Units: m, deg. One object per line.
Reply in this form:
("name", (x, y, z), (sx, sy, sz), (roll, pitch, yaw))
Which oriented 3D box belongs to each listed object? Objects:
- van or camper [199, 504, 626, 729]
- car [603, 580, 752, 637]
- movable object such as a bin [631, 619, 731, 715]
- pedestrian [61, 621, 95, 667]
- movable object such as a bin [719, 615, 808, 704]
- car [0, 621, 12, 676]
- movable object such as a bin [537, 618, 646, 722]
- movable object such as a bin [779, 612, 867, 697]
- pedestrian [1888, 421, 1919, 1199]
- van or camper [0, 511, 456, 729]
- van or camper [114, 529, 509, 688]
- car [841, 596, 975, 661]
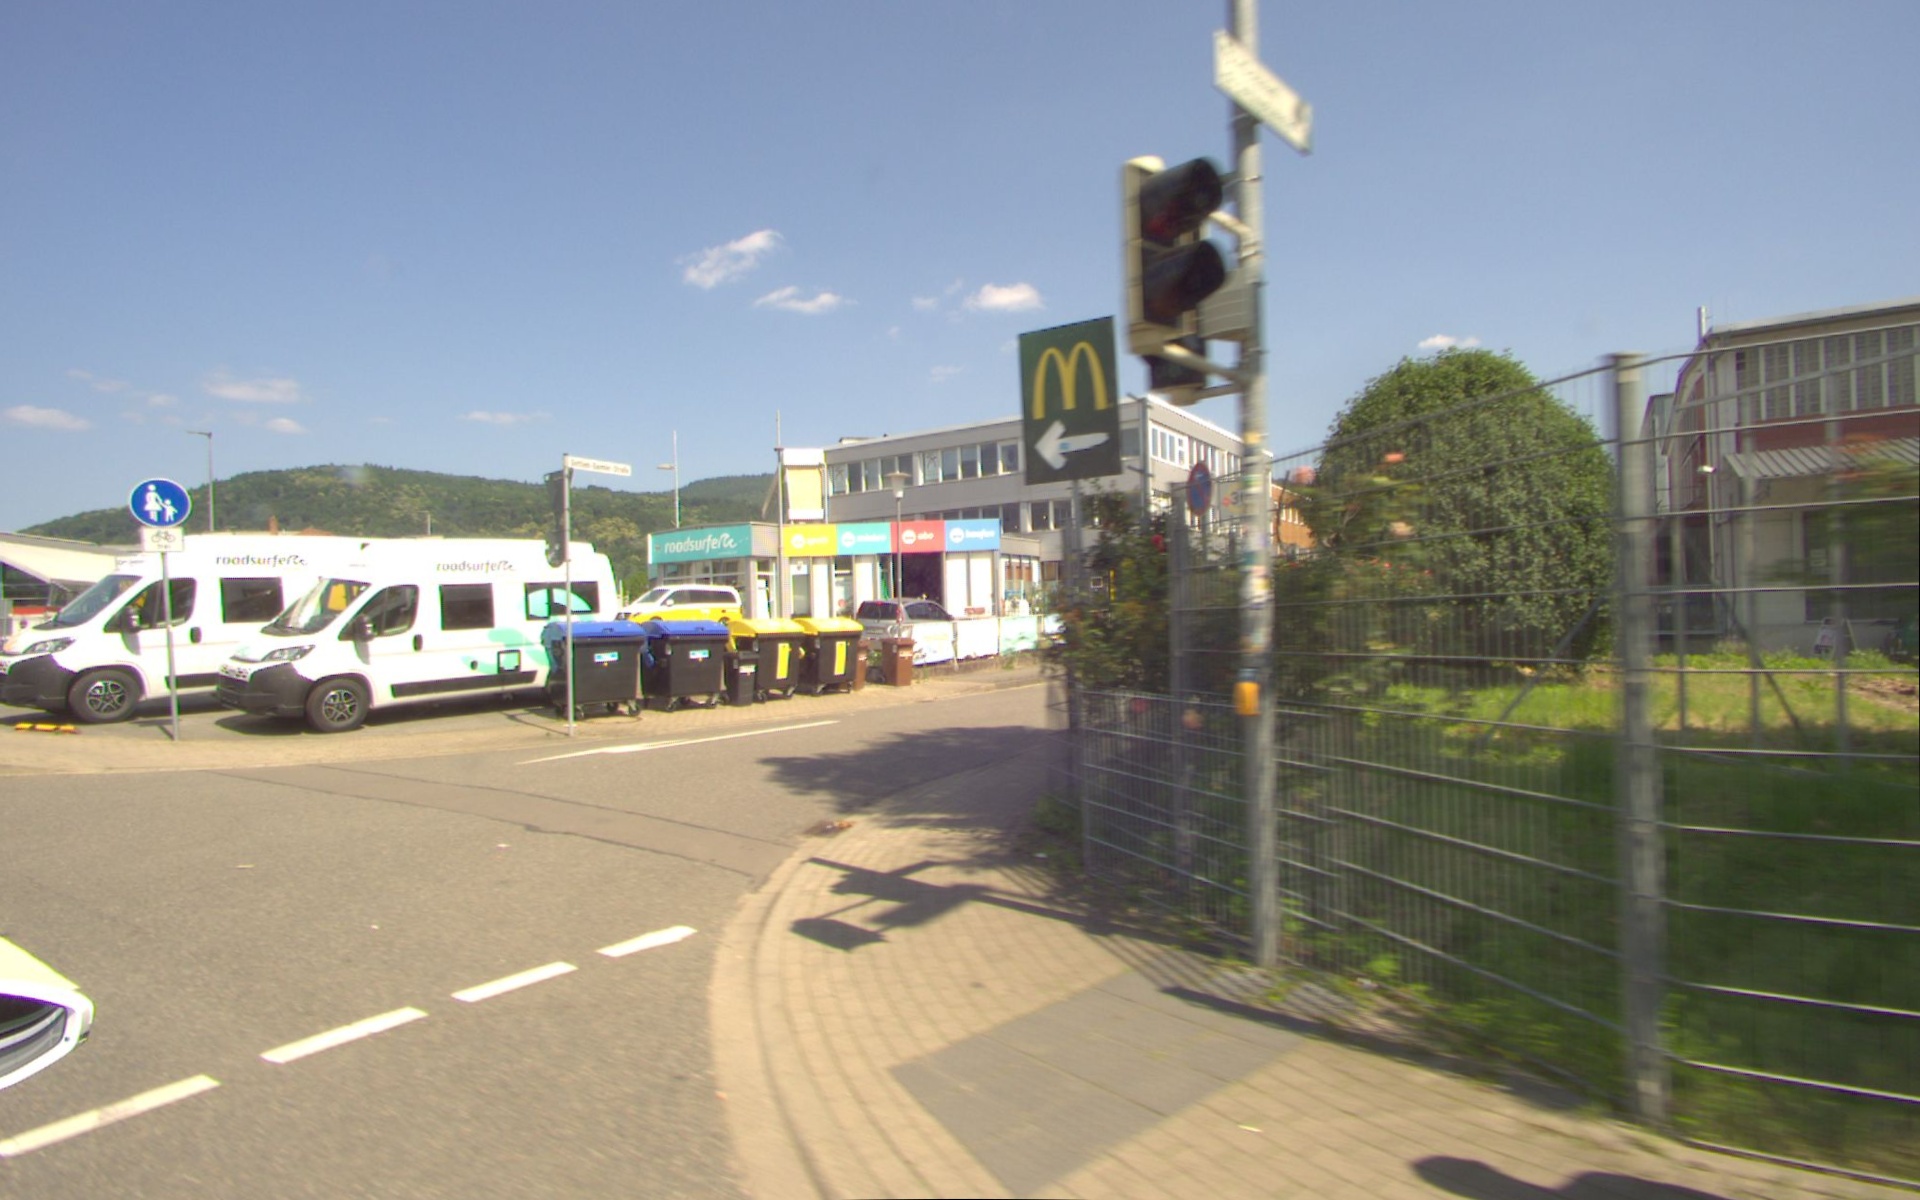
("van or camper", (-8.139, 0.234, 15.508), (2.021, 2.852, 5.489), (1, 0, 36))
("car", (-10.889, 0.344, 39.033), (2.111, 2.040, 5.432), (-1, -1, 37))
("movable object such as a bin", (-4.614, 1.078, 16.574), (1.008, 1.476, 1.279), (1, 1, 43))
("pedestrian", (-32.515, 1.625, 36.921), (0.875, 1.658, 0.943), (-1, -1, -45))
("movable object such as a bin", (-3.536, 1.042, 18.033), (1.007, 1.495, 1.230), (1, 1, 40))
("car", (-31.134, 1.538, 30.857), (1.973, 1.756, 4.537), (-1, -1, -33))
("movable object such as a bin", (-5.661, 1.033, 15.406), (1.067, 1.477, 1.245), (2, 2, 44))
("movable object such as a bin", (-2.657, 1.027, 19.454), (1.051, 1.552, 1.324), (1, 1, 40))
("pedestrian", (2.166, 0.503, 1.565), (0.874, 1.722, 0.811), (-1, 1, 30))
("van or camper", (-11.418, 0.251, 15.927), (2.062, 2.811, 5.793), (0, 1, 35))
("van or camper", (-14.061, 0.112, 22.441), (2.302, 2.985, 7.044), (-2, 1, 32))
("car", (-1.307, 0.703, 26.670), (1.788, 1.535, 3.879), (2, 1, 29))
